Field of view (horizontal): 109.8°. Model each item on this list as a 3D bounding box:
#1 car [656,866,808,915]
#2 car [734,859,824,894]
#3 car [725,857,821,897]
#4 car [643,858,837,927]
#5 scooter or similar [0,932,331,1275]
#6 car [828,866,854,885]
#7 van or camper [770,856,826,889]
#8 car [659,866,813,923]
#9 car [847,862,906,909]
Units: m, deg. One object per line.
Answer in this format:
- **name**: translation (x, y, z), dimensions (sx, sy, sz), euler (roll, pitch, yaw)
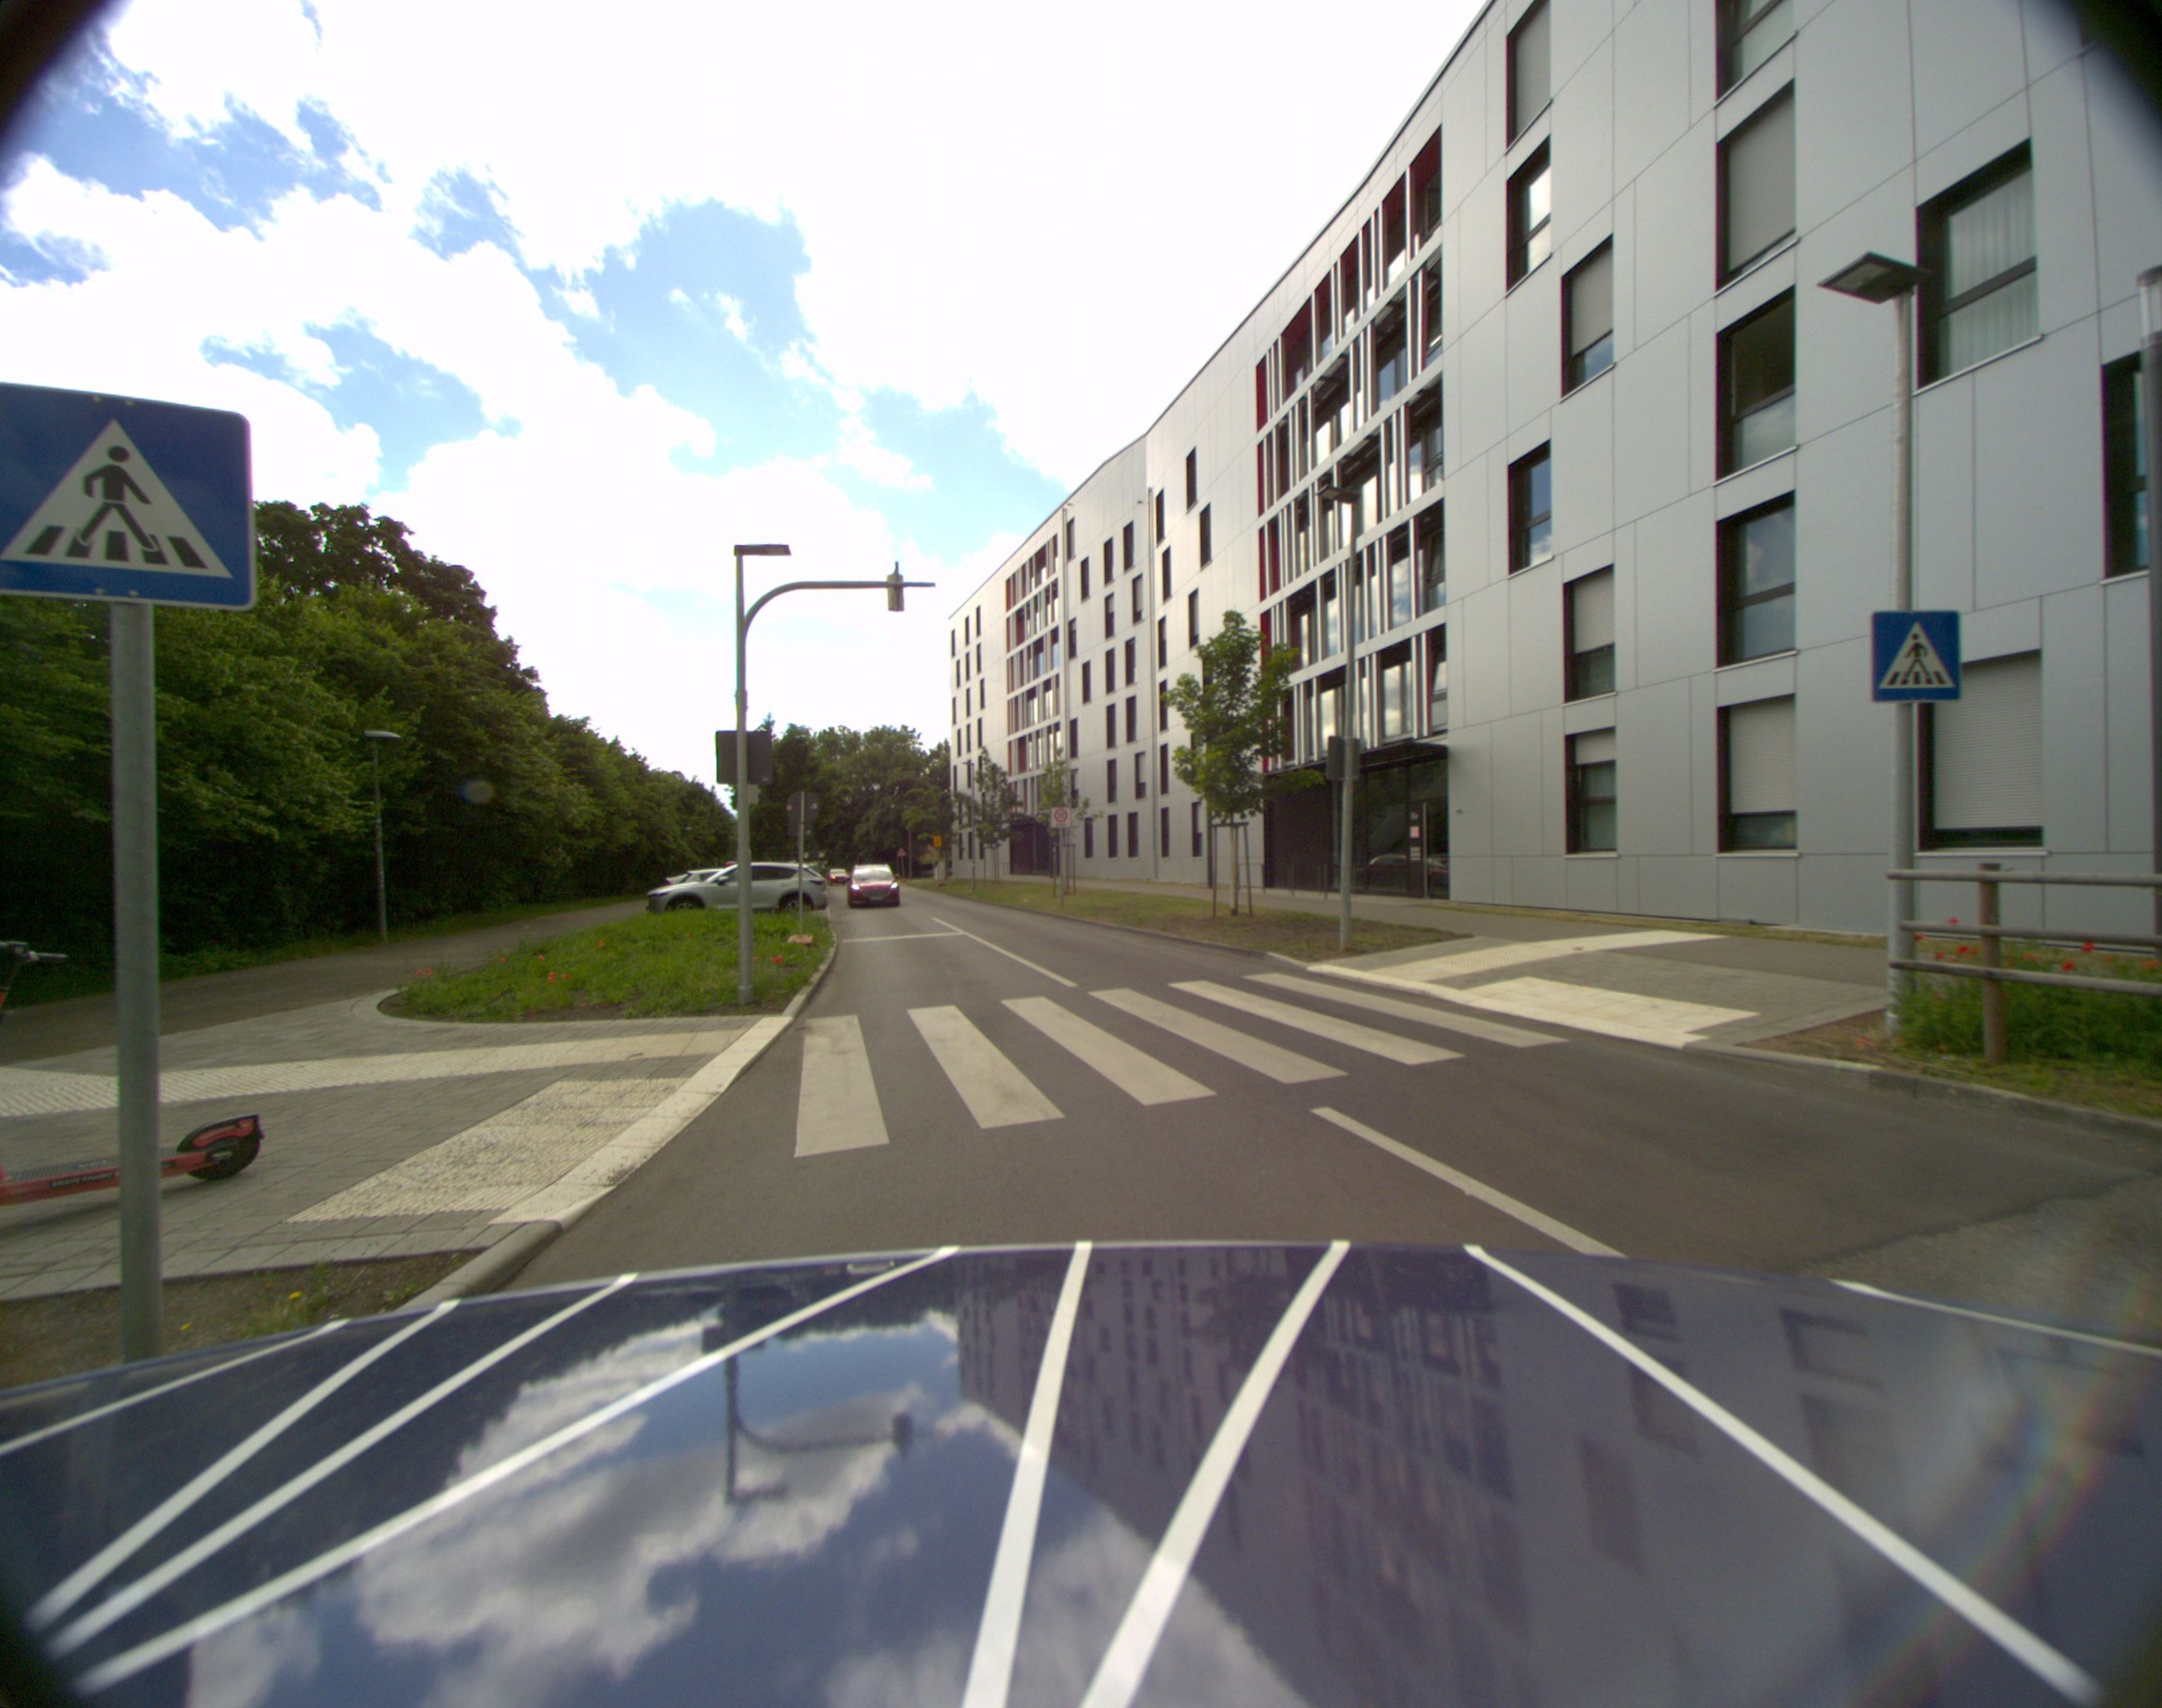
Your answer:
- **car**: translation (-11.601, 1.190, 25.626), dimensions (4.496, 1.553, 1.908), euler (1, -1, -21)
- **car**: translation (-16.953, 1.245, 42.850), dimensions (4.570, 1.887, 1.881), euler (1, -1, -21)
- **car**: translation (-15.232, 1.118, 37.742), dimensions (4.299, 1.881, 1.834), euler (0, 0, -21)
- **car**: translation (-9.314, 1.024, 21.068), dimensions (4.669, 1.741, 2.066), euler (1, -1, -23)
- **scooter or similar**: translation (-4.582, 1.099, 3.496), dimensions (0.571, 1.305, 1.529), euler (-1, 0, 40)
- **car**: translation (-21.526, 1.876, 68.153), dimensions (1.821, 1.608, 3.992), euler (0, -1, -23)
- **van or camper**: translation (-22.154, 1.432, 59.553), dimensions (3.985, 2.306, 1.881), euler (-3, 1, -21)
- **car**: translation (-10.516, 1.194, 23.490), dimensions (4.172, 1.576, 1.793), euler (0, 0, -21)
- **car**: translation (-8.193, 1.171, 30.154), dimensions (1.936, 1.622, 4.236), euler (-3, 1, -19)
